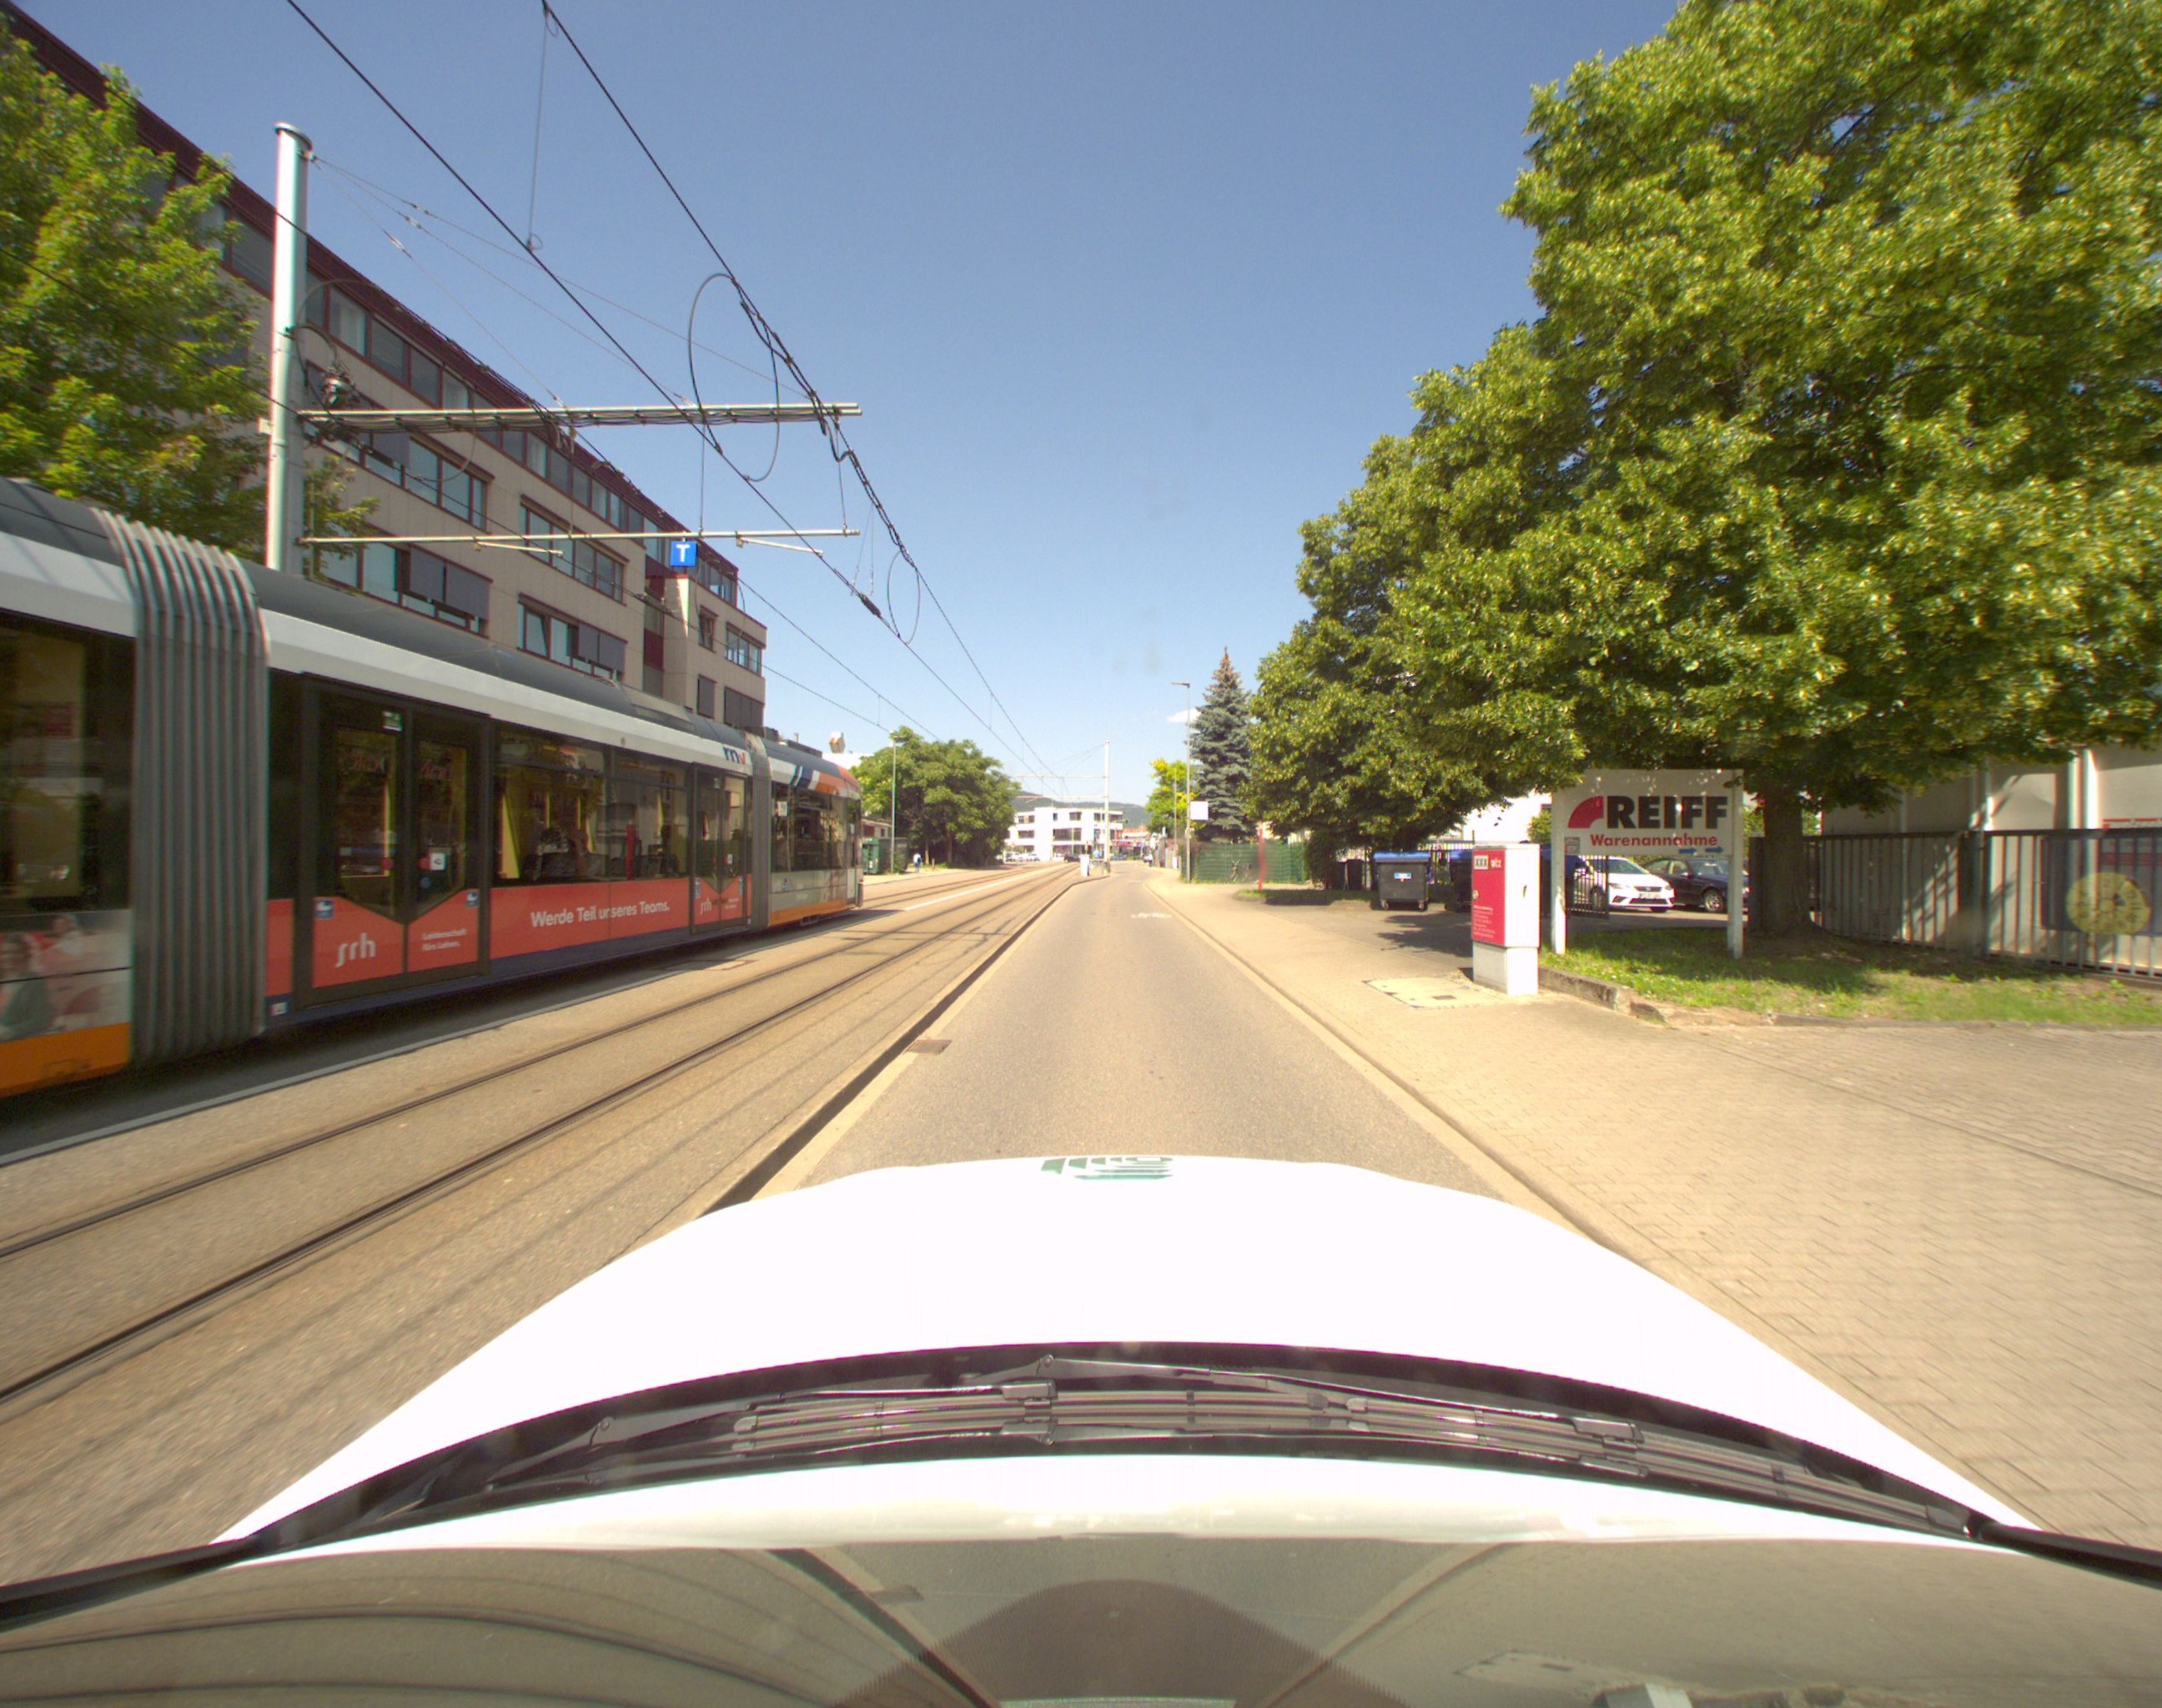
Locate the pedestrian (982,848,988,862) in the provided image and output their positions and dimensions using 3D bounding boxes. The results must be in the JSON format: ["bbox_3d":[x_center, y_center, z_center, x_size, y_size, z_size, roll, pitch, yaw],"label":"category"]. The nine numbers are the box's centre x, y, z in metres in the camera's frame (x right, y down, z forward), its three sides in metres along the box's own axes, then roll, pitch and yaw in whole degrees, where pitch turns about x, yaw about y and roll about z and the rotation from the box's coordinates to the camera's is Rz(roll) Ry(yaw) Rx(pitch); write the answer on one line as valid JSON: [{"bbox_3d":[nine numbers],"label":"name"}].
[{"bbox_3d":[-10.187,0.106,86.496,0.582,1.537,0.657,0,0,1],"label":"pedestrian"}]

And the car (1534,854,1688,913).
[{"bbox_3d":[14.299,0.743,22.266,1.736,1.460,4.002,0,0,2],"label":"car"}]

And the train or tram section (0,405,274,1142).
[{"bbox_3d":[-6.385,-0.375,2.569,2.601,3.447,5.011,0,0,1],"label":"train or tram section"}]

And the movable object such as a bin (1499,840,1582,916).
[{"bbox_3d":[9.657,0.506,17.177,0.975,1.547,1.319,1,-2,-2],"label":"movable object such as a bin"}]

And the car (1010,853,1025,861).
[{"bbox_3d":[-13.232,0.611,169.365,1.936,1.647,3.731,-1,0,-24],"label":"car"}]

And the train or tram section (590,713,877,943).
[{"bbox_3d":[-6.039,-0.391,15.453,2.571,3.447,6.364,0,0,1],"label":"train or tram section"}]

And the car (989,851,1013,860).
[{"bbox_3d":[-14.451,0.338,147.565,3.950,1.552,1.803,-1,0,27],"label":"car"}]

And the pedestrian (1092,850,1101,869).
[{"bbox_3d":[1.401,0.497,73.733,0.741,1.740,0.727,0,0,1],"label":"pedestrian"}]

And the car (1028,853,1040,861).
[{"bbox_3d":[-9.339,0.590,161.580,1.757,1.647,3.748,-1,0,-11],"label":"car"}]

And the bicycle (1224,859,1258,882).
[{"bbox_3d":[7.277,0.751,37.117,1.466,0.990,0.388,0,-3,0],"label":"bicycle"}]

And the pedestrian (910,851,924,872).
[{"bbox_3d":[-11.704,0.526,58.094,0.831,1.537,0.838,-1,0,1],"label":"pedestrian"}]

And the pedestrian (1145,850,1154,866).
[{"bbox_3d":[8.132,0.462,96.776,0.937,1.787,0.953,1,1,1],"label":"pedestrian"}]

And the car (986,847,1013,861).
[{"bbox_3d":[-12.064,-0.033,120.492,1.842,1.937,4.025,2,1,34],"label":"car"}]

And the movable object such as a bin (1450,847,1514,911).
[{"bbox_3d":[9.324,0.580,18.955,1.304,1.430,0.890,0,-2,26],"label":"movable object such as a bin"}]

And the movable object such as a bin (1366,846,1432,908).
[{"bbox_3d":[7.628,0.548,19.524,1.371,1.430,0.996,0,-2,26],"label":"movable object such as a bin"}]

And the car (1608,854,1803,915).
[{"bbox_3d":[17.003,0.760,22.545,1.880,1.378,4.772,-1,1,2],"label":"car"}]

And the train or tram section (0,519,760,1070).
[{"bbox_3d":[-6.199,-0.370,8.674,2.571,3.447,7.138,0,0,1],"label":"train or tram section"}]

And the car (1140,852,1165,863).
[{"bbox_3d":[12.239,0.598,139.896,4.011,1.750,1.759,0,0,-30],"label":"car"}]

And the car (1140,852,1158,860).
[{"bbox_3d":[15.154,0.455,181.392,4.022,1.662,1.843,0,0,-43],"label":"car"}]
